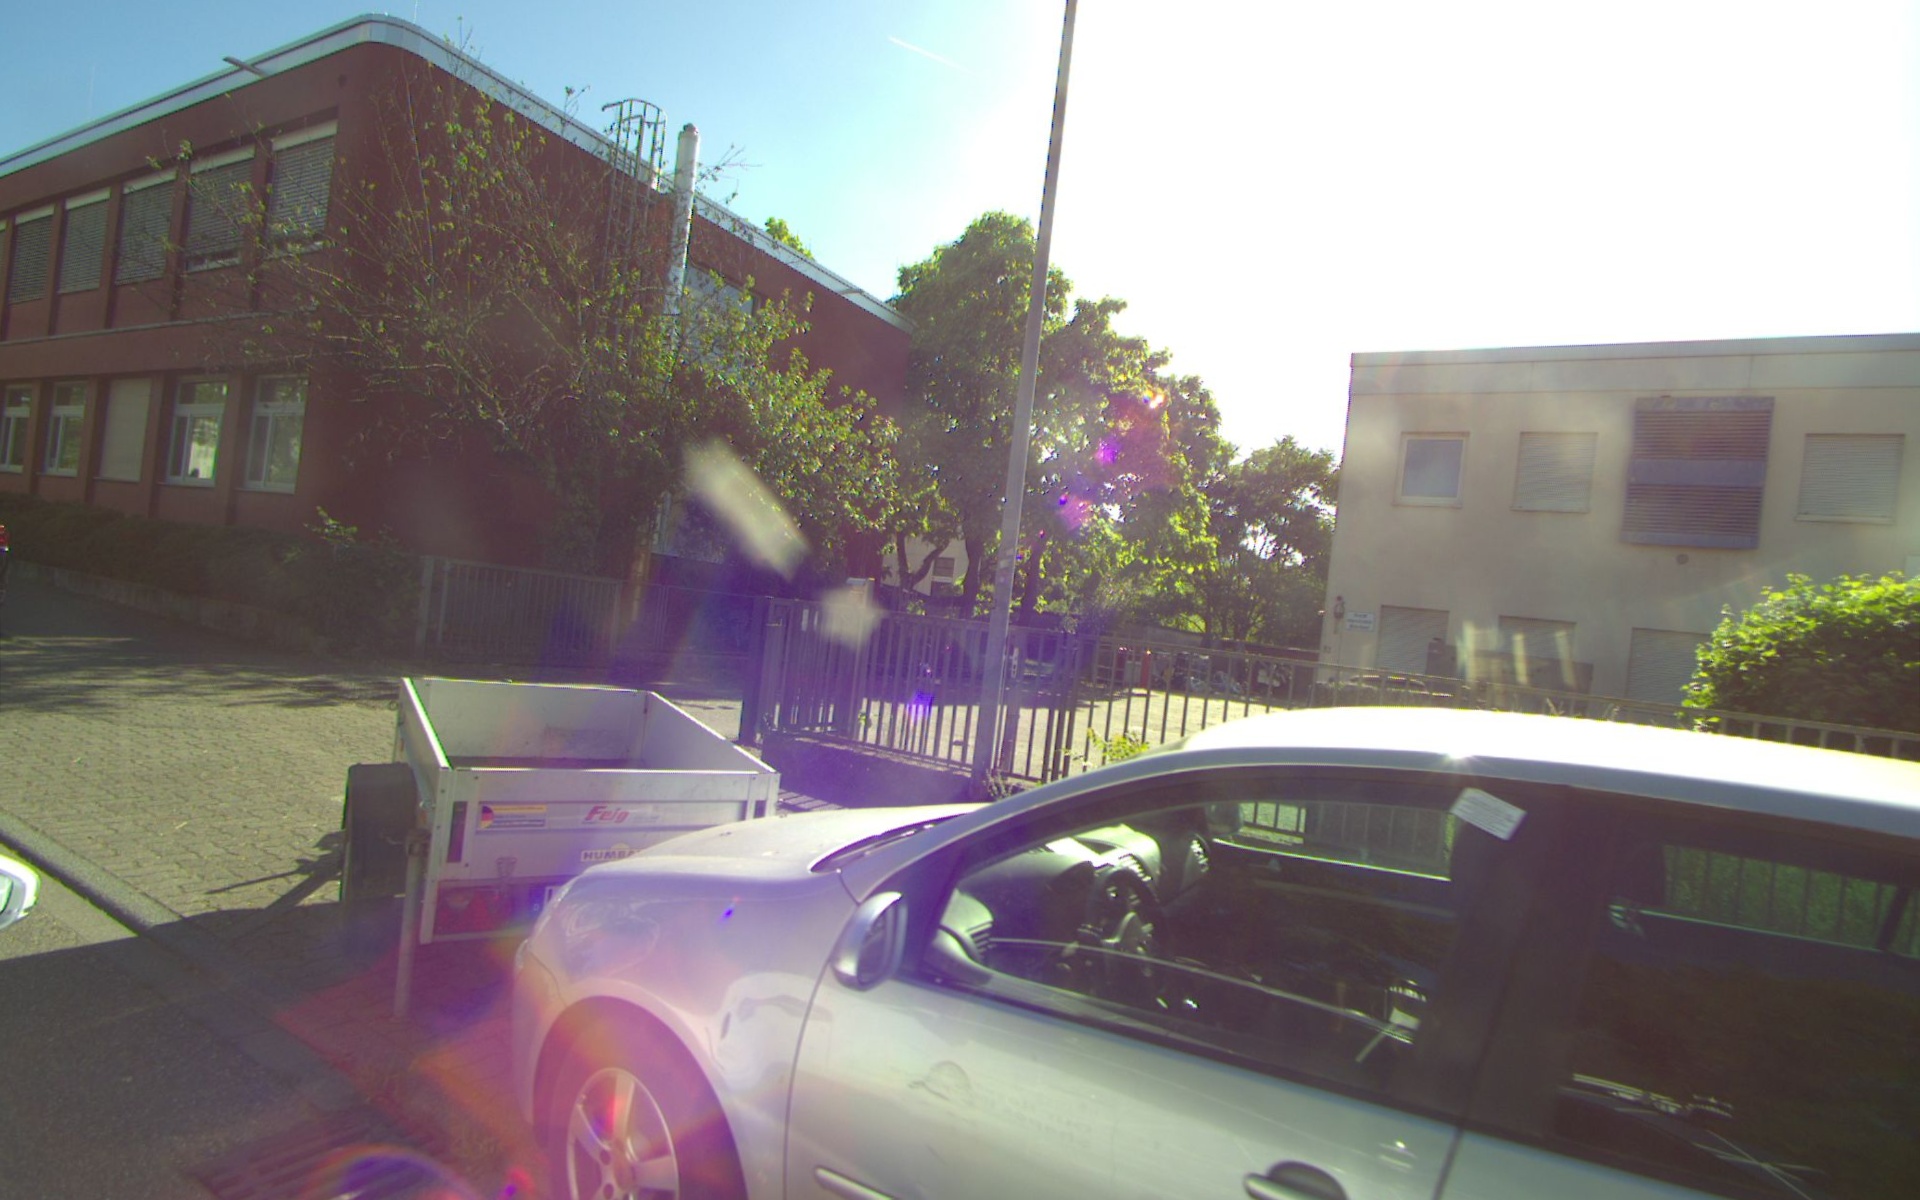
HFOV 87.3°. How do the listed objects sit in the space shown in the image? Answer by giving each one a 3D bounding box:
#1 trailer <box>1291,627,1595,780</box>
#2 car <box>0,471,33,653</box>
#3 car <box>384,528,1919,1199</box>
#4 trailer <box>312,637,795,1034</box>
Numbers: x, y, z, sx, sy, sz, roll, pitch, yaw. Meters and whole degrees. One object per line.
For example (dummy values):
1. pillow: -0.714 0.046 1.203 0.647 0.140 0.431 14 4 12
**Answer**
1. trailer: 8.863 1.822 18.633 4.691 2.091 1.996 5 -1 32
2. car: -10.915 -0.614 9.670 4.132 1.653 1.841 7 -1 32
3. car: 0.763 0.876 2.092 3.870 1.580 1.662 7 -1 32
4. trailer: -2.034 0.821 4.554 1.364 0.923 2.910 8 -1 -34
